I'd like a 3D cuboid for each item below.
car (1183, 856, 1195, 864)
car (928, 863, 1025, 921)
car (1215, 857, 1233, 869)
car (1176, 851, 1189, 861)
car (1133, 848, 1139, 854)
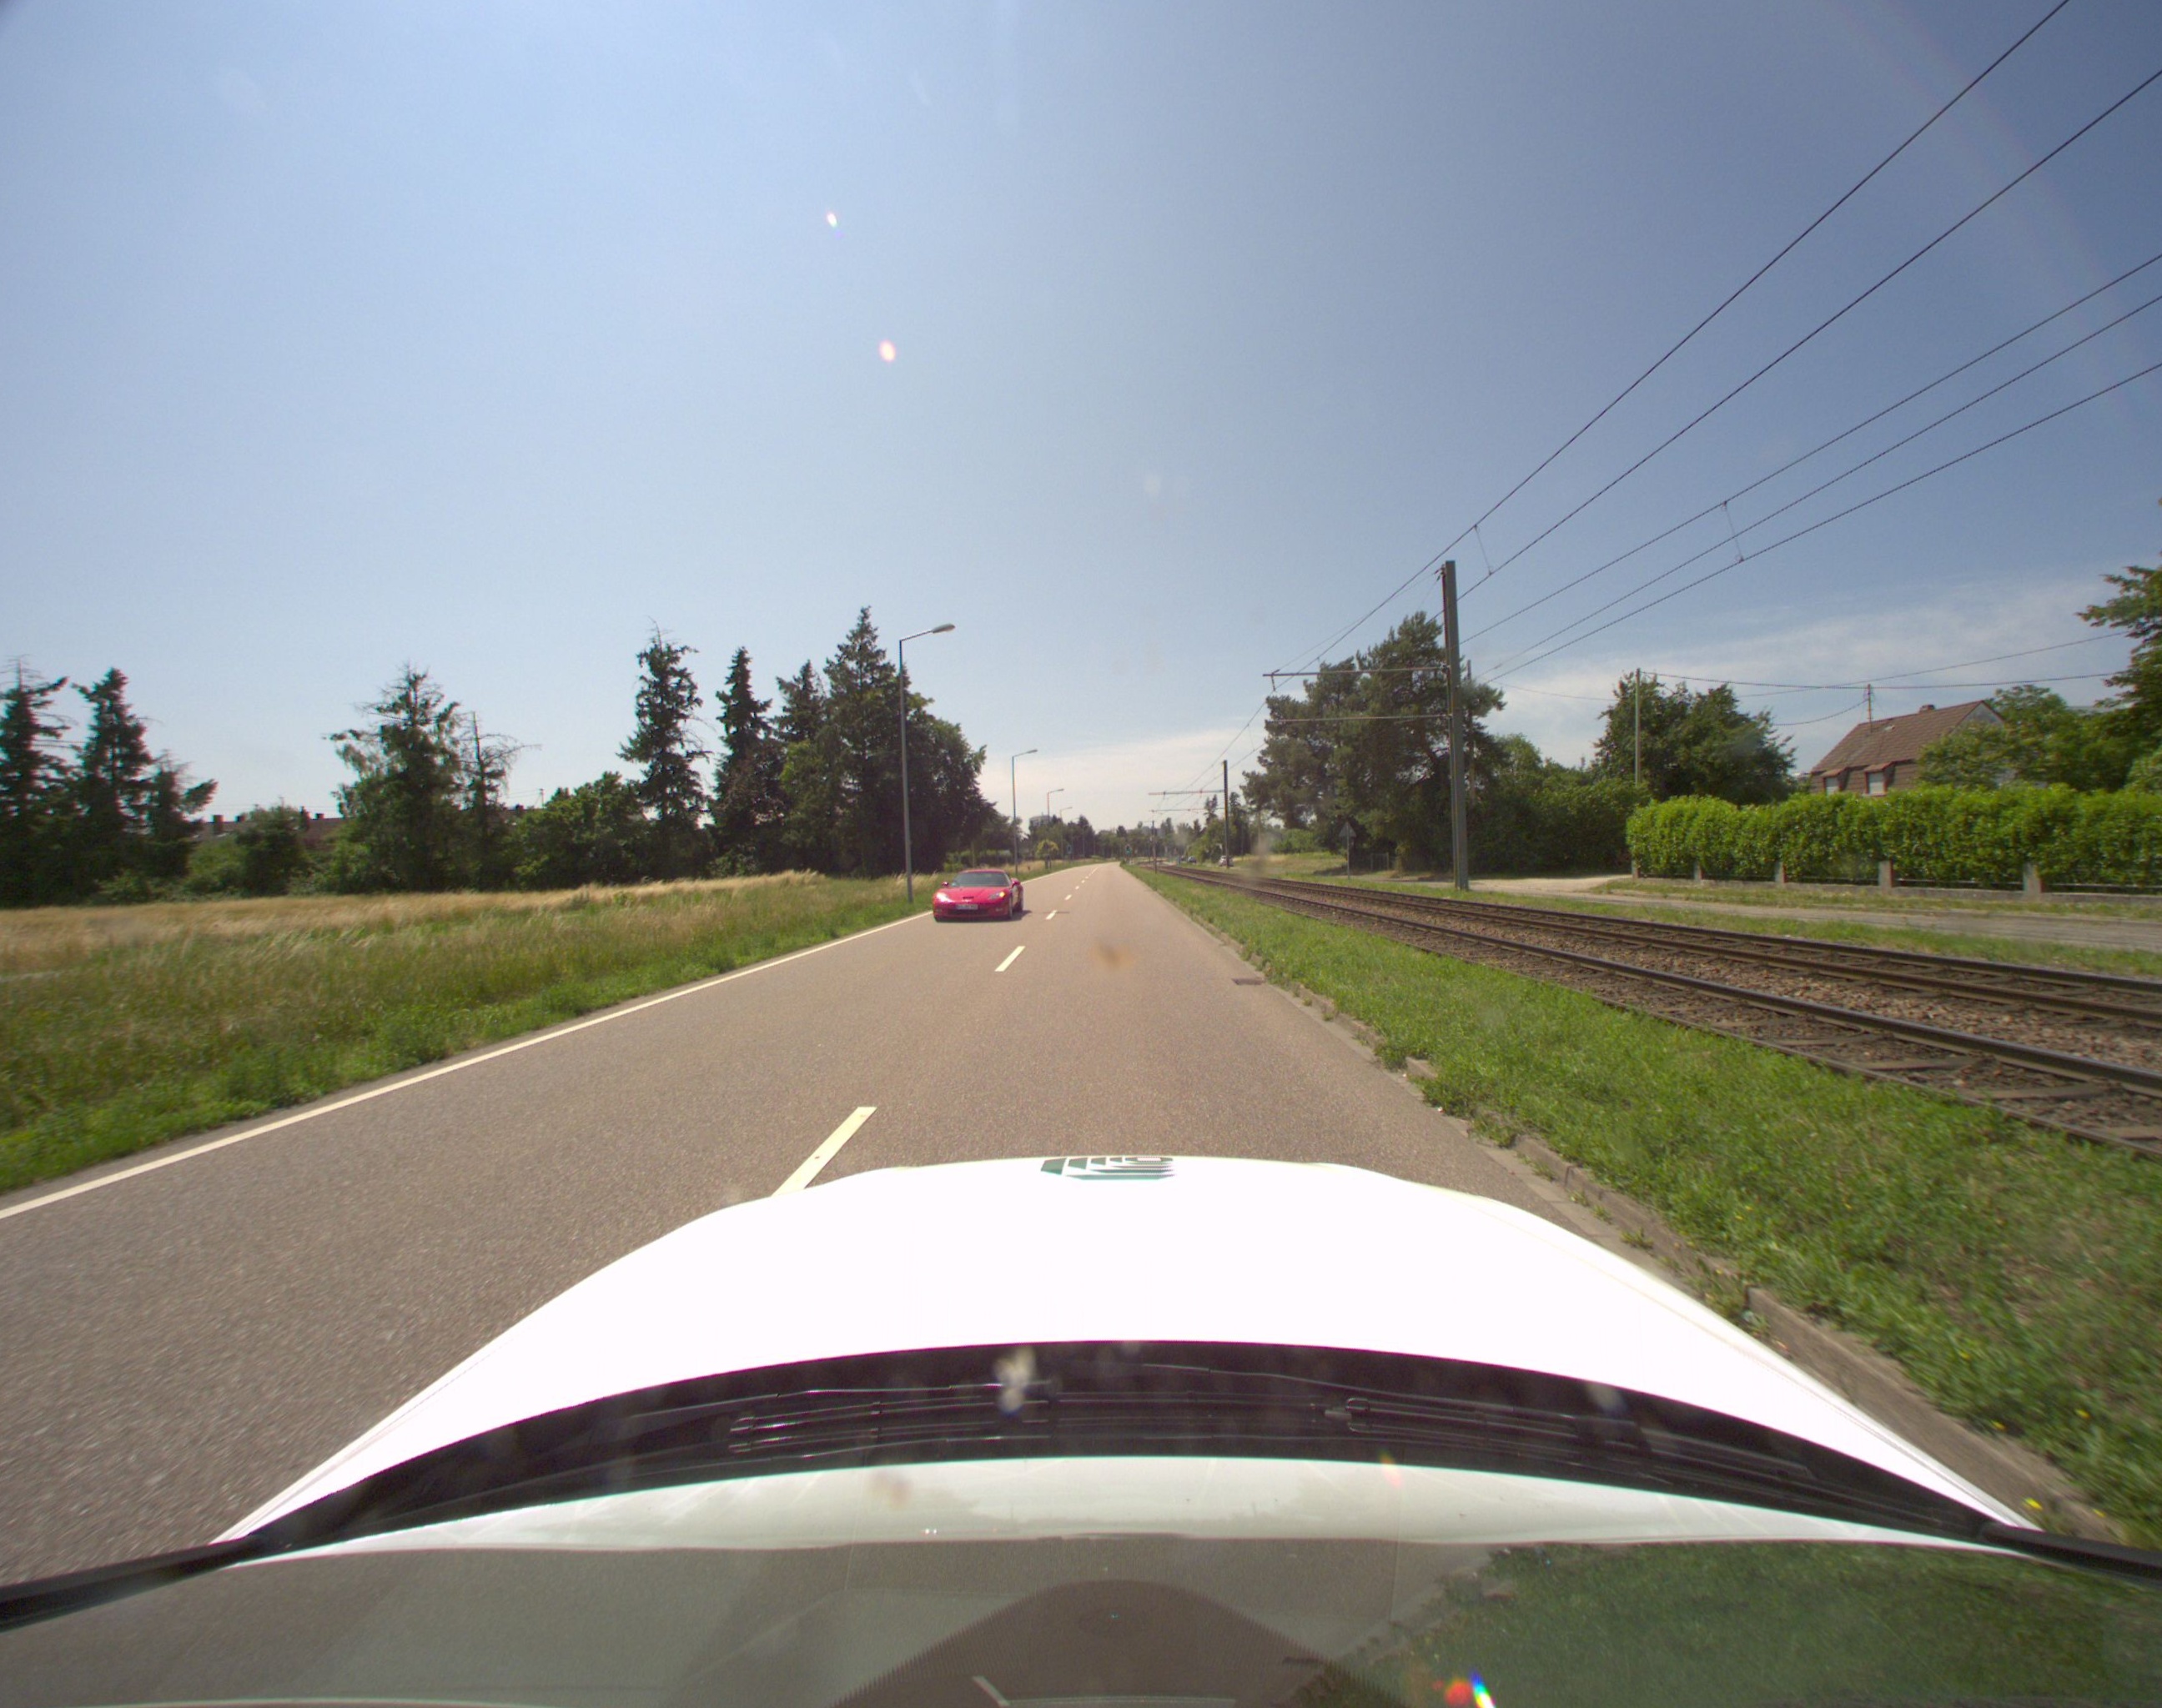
[{"bbox_3d":[22.415,1.239,169.324,1.908,1.662,4.002,-2,-1,2],"label":"car"},{"bbox_3d":[-2.608,0.939,21.258,1.801,1.286,4.287,-2,-1,2],"label":"car"},{"bbox_3d":[19.911,1.287,113.468,1.986,1.508,4.001,-2,-1,2],"label":"car"},{"bbox_3d":[16.292,0.365,131.114,1.737,1.559,4.002,-2,-1,2],"label":"car"},{"bbox_3d":[15.143,-0.883,224.169,1.546,1.585,3.570,-2,-1,2],"label":"car"}]
